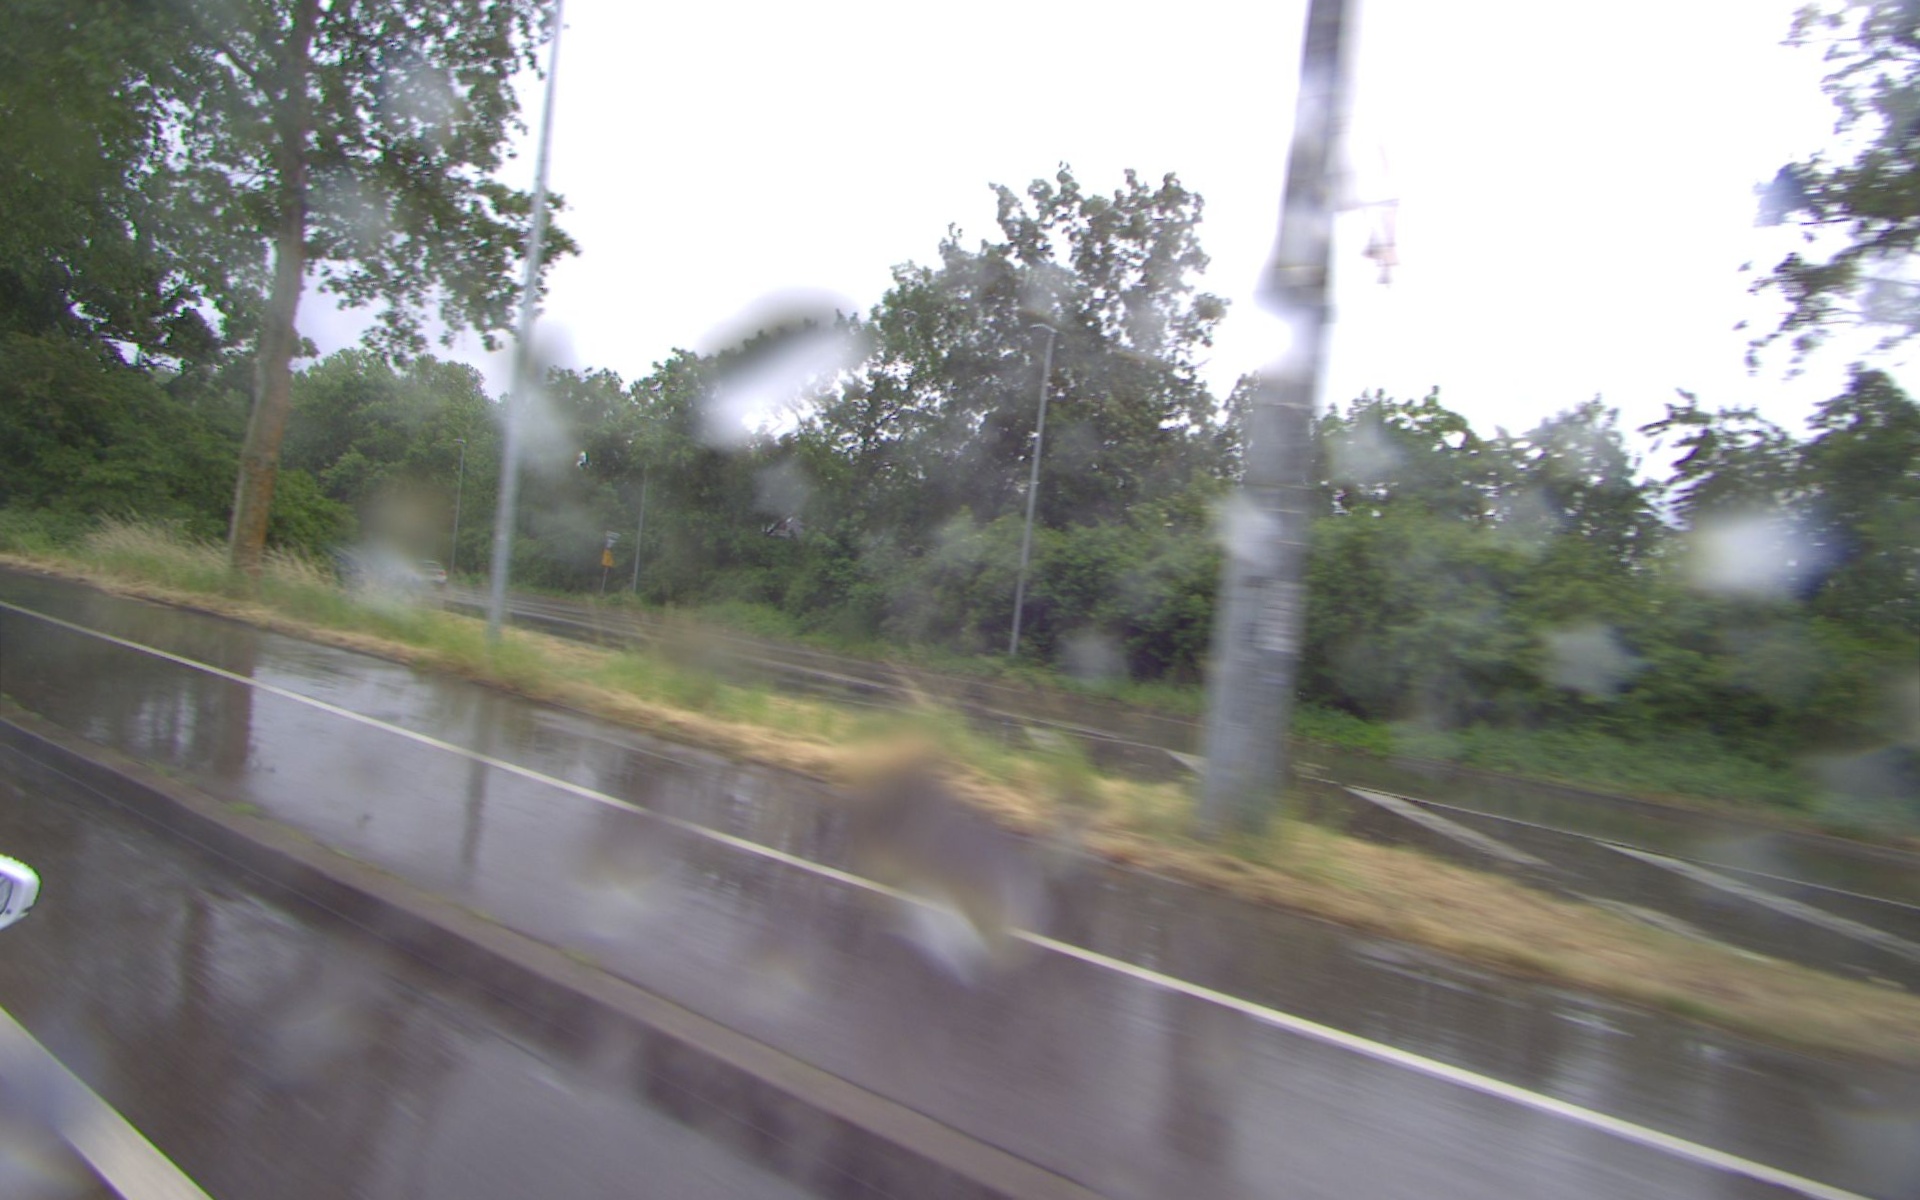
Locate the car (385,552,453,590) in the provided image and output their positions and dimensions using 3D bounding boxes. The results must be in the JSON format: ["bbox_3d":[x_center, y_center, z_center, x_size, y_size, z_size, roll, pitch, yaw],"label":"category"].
[{"bbox_3d":[-26.868,-1.433,49.893,1.883,1.448,3.949,7,0,-44],"label":"car"}]
